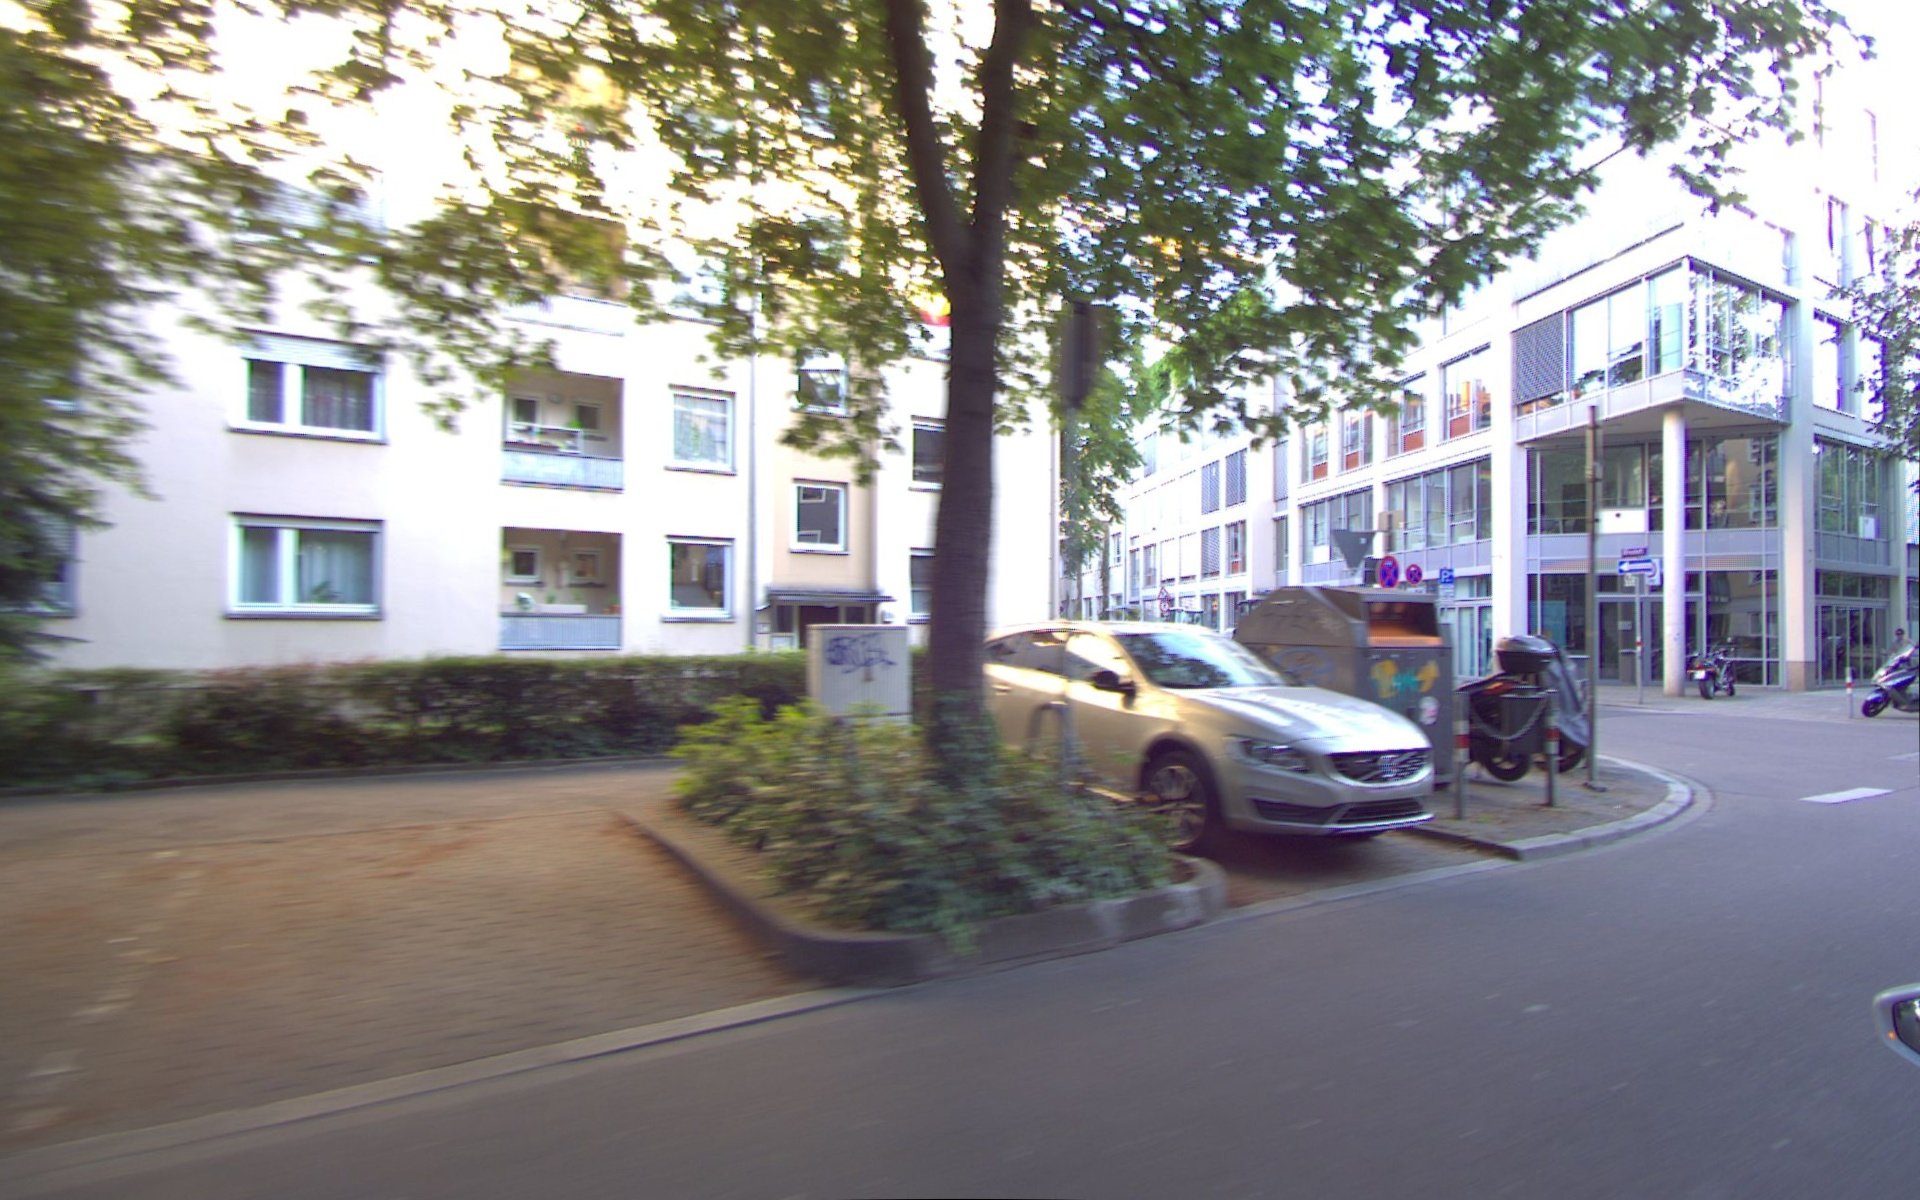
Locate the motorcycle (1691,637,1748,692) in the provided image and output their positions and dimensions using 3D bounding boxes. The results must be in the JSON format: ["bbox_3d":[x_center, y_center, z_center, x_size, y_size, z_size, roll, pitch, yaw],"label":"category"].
[{"bbox_3d":[17.403,1.452,22.993,2.289,1.187,0.551,1,-2,-40],"label":"motorcycle"}]

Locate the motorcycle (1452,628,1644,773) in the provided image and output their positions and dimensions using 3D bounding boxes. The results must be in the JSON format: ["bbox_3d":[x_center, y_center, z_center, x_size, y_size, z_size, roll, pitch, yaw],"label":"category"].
[{"bbox_3d":[6.405,1.029,11.122,0.835,1.439,2.255,0,-1,1],"label":"motorcycle"}]

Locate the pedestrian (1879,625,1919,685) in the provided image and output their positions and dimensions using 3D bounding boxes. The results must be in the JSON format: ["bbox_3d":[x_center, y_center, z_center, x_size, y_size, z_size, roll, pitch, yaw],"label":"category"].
[{"bbox_3d":[25.086,1.451,26.728,0.635,1.556,0.766,1,-1,-30],"label":"pedestrian"}]

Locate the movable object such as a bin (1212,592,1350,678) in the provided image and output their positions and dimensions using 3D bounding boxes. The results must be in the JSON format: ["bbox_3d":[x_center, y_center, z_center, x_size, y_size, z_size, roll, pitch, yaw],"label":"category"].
[{"bbox_3d":[10.936,1.177,34.733,2.243,2.728,5.640,0,-1,-9],"label":"movable object such as a bin"}]

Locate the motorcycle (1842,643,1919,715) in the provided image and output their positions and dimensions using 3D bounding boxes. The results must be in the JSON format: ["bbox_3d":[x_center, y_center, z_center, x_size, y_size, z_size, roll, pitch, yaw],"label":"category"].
[{"bbox_3d":[18.036,1.454,18.589,2.310,1.298,1.068,-1,-1,20],"label":"motorcycle"}]

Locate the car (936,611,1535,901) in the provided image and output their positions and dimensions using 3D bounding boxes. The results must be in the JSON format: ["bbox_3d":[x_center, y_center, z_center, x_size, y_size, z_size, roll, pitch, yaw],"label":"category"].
[{"bbox_3d":[1.735,0.899,8.002,2.049,1.573,4.602,1,-1,-27],"label":"car"}]

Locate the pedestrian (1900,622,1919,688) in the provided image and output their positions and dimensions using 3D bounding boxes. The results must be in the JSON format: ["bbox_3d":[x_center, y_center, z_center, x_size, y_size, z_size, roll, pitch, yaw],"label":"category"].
[{"bbox_3d":[24.974,1.417,26.036,0.599,1.712,0.736,1,-1,-29],"label":"pedestrian"}]

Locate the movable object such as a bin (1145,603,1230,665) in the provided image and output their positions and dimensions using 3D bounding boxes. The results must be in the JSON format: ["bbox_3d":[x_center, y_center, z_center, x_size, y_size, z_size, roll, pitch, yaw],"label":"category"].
[{"bbox_3d":[9.790,1.447,43.520,2.243,2.574,4.092,0,-1,-9],"label":"movable object such as a bin"}]

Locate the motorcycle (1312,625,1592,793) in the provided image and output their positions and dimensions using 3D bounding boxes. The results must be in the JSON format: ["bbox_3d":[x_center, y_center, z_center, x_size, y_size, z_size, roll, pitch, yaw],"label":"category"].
[{"bbox_3d":[4.733,0.970,9.914,0.899,1.439,2.443,1,-2,-28],"label":"motorcycle"}]
